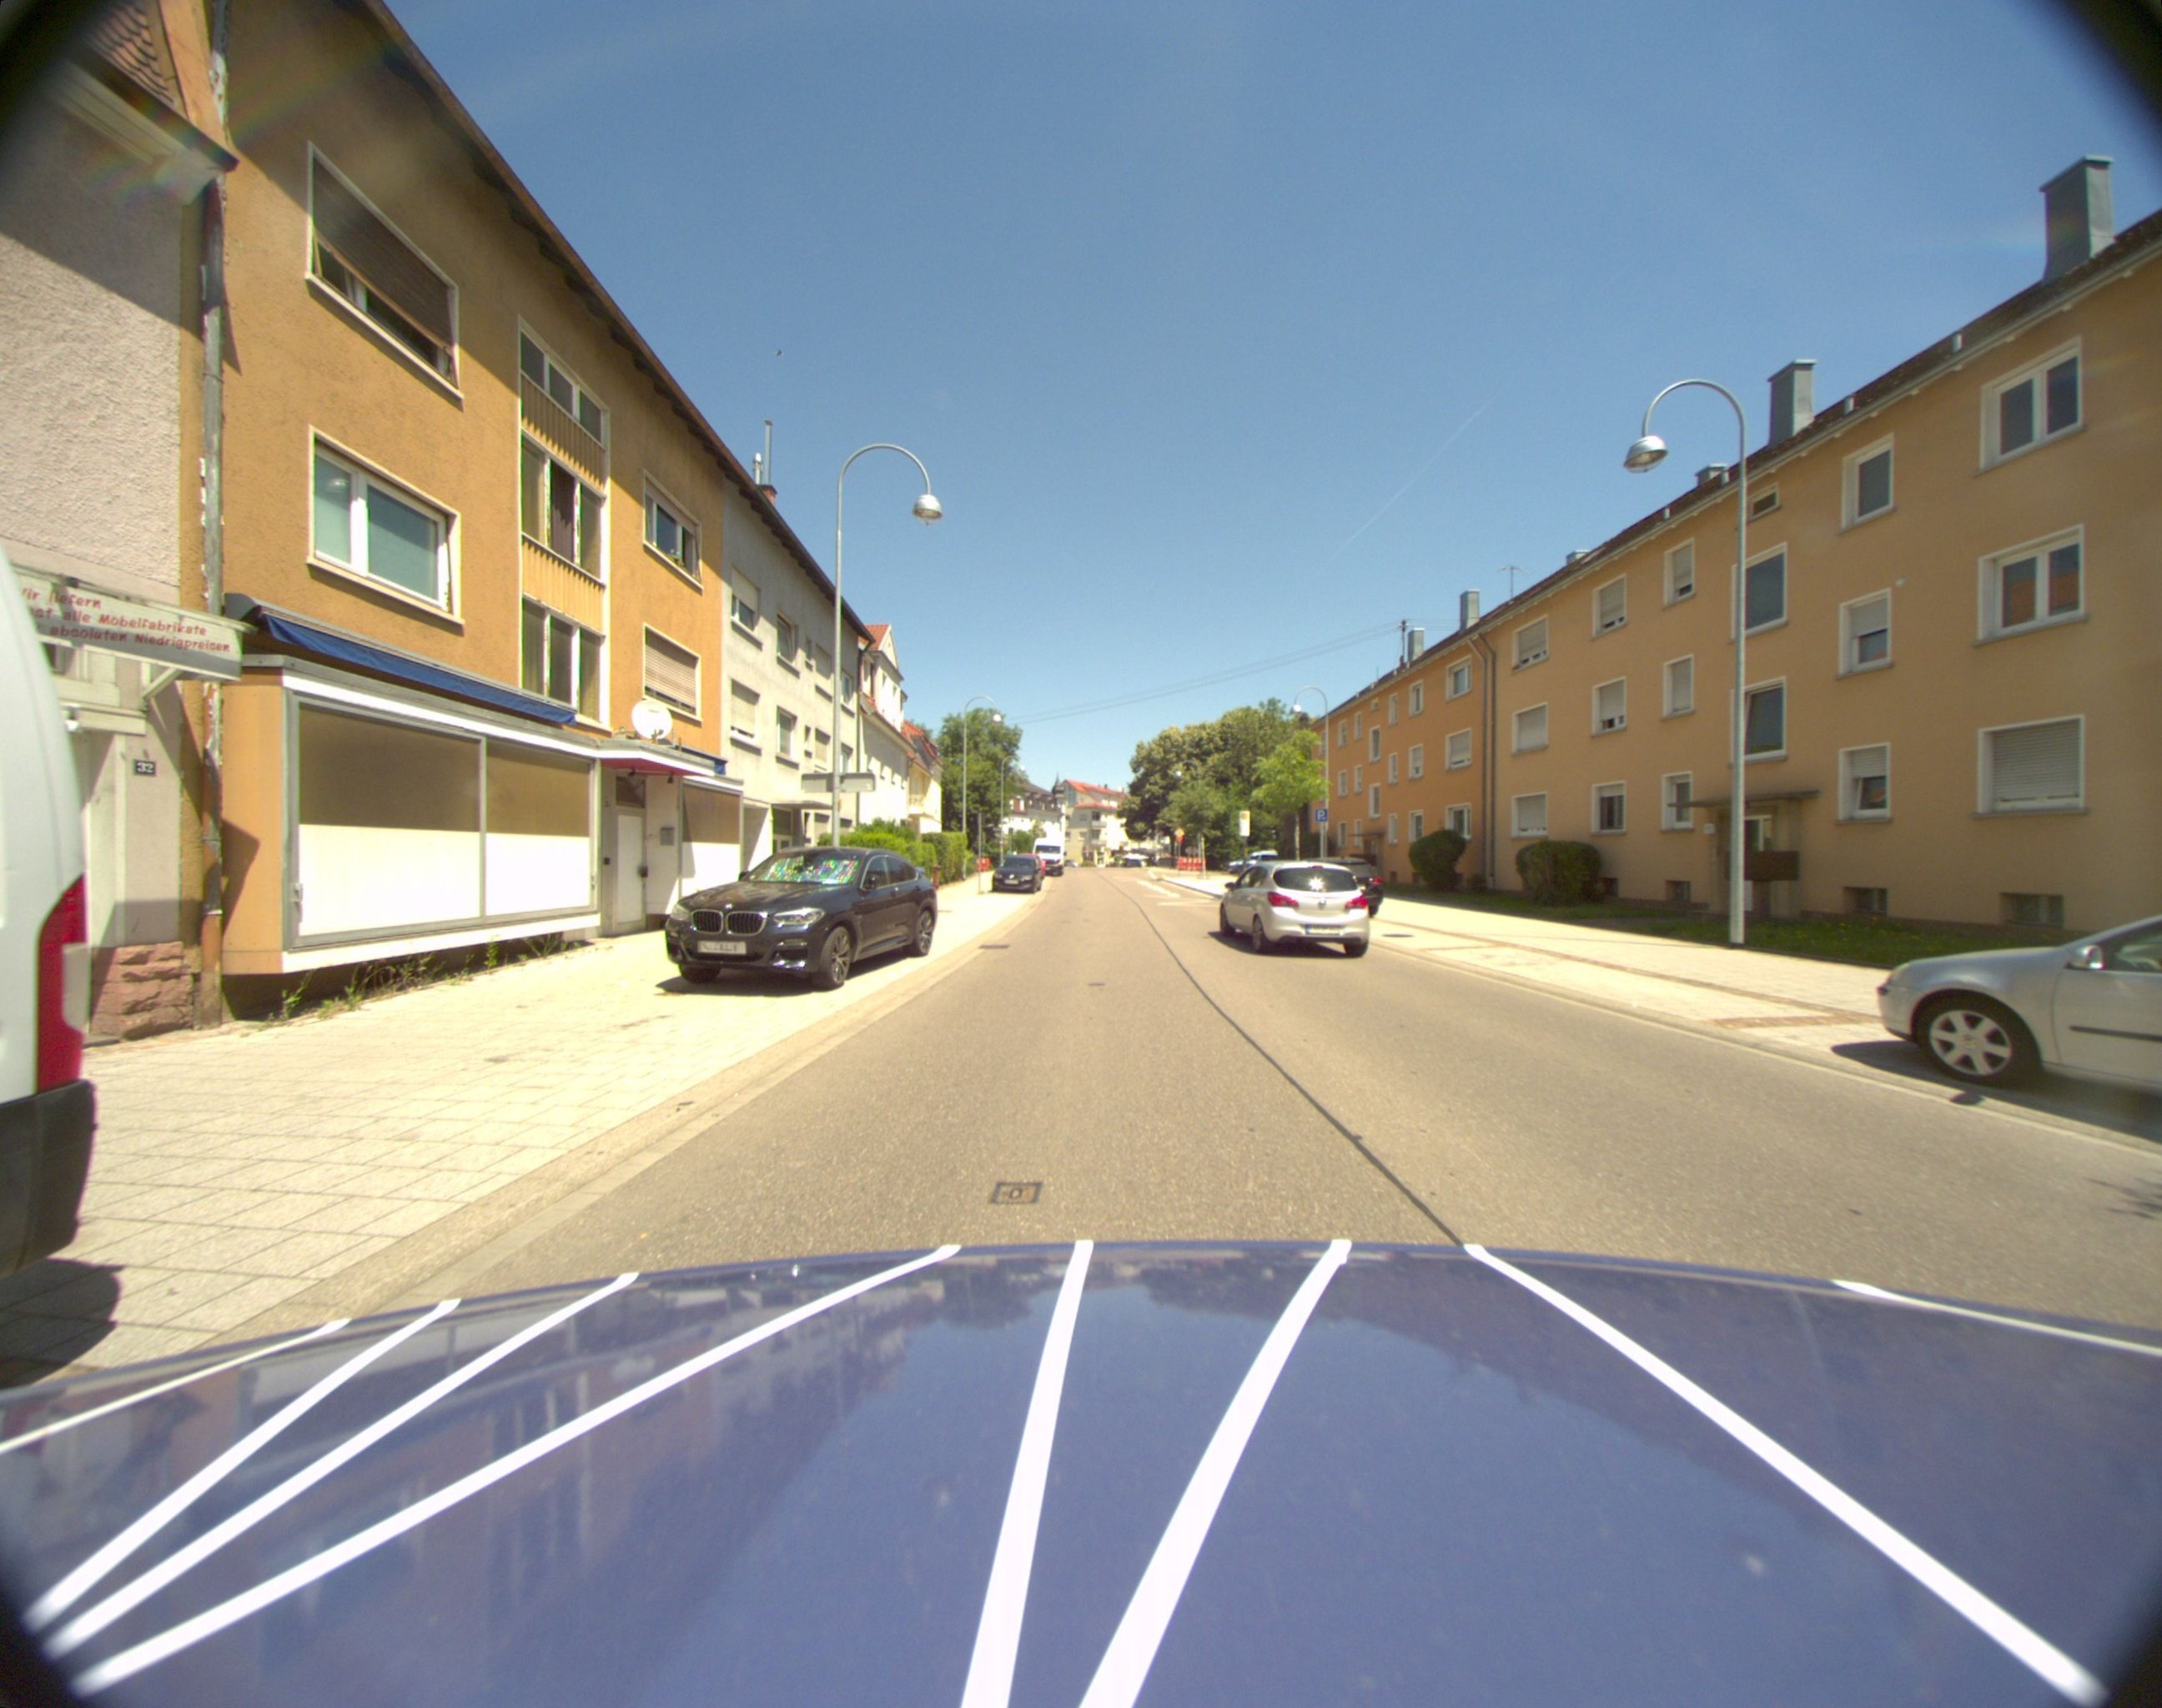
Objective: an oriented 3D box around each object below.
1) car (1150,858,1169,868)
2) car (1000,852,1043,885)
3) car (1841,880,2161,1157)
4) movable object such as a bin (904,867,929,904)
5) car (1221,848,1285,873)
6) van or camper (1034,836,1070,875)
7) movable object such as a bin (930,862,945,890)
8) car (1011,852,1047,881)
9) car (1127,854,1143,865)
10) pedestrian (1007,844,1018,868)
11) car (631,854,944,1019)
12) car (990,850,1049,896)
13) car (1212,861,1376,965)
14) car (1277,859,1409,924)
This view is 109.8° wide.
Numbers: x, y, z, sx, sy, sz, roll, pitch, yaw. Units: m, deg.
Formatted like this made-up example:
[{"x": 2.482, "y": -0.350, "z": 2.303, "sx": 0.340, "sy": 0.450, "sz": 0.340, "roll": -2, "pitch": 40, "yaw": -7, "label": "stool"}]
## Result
[{"x": 14.228, "y": 1.646, "z": 138.214, "sx": 2.002, "sy": 1.705, "sz": 3.994, "roll": 2, "pitch": -1, "yaw": -17, "label": "car"}, {"x": -2.959, "y": 0.701, "z": 38.693, "sx": 1.808, "sy": 1.466, "sz": 4.719, "roll": 3, "pitch": 0, "yaw": -1, "label": "car"}, {"x": 7.068, "y": 0.972, "z": 3.946, "sx": 1.999, "sy": 1.412, "sz": 4.086, "roll": -2, "pitch": 1, "yaw": -5, "label": "car"}, {"x": -4.962, "y": 0.956, "z": 22.944, "sx": 0.595, "sy": 1.070, "sz": 0.647, "roll": 1, "pitch": 1, "yaw": 0, "label": "movable object such as a bin"}, {"x": 13.212, "y": 0.474, "z": 58.405, "sx": 4.439, "sy": 1.863, "sz": 1.817, "roll": 0, "pitch": 1, "yaw": -10, "label": "car"}, {"x": -2.017, "y": 0.049, "z": 51.654, "sx": 2.114, "sy": 2.453, "sz": 6.173, "roll": -1, "pitch": 1, "yaw": -5, "label": "van or camper"}, {"x": -5.583, "y": 0.850, "z": 29.547, "sx": 0.488, "sy": 1.097, "sz": 0.555, "roll": 0, "pitch": 1, "yaw": 0, "label": "movable object such as a bin"}, {"x": -2.905, "y": 0.679, "z": 43.225, "sx": 1.808, "sy": 1.521, "sz": 4.150, "roll": 1, "pitch": 0, "yaw": -1, "label": "car"}, {"x": 7.539, "y": 0.785, "z": 106.958, "sx": 1.998, "sy": 1.498, "sz": 4.288, "roll": 1, "pitch": 0, "yaw": 2, "label": "car"}, {"x": -5.134, "y": 0.142, "z": 57.001, "sx": 0.522, "sy": 1.696, "sz": 0.803, "roll": 4, "pitch": 0, "yaw": -20, "label": "pedestrian"}, {"x": -3.455, "y": 0.838, "z": 10.011, "sx": 1.898, "sy": 1.598, "sz": 4.367, "roll": 2, "pitch": 1, "yaw": 9, "label": "car"}, {"x": -2.406, "y": 0.719, "z": 30.530, "sx": 1.732, "sy": 1.623, "sz": 4.001, "roll": 3, "pitch": 0, "yaw": 4, "label": "car"}, {"x": 3.478, "y": 0.894, "z": 13.118, "sx": 1.664, "sy": 1.488, "sz": 3.758, "roll": 1, "pitch": 0, "yaw": -2, "label": "car"}, {"x": 6.889, "y": 0.907, "z": 20.566, "sx": 1.862, "sy": 1.498, "sz": 4.562, "roll": -2, "pitch": 0, "yaw": -2, "label": "car"}]
